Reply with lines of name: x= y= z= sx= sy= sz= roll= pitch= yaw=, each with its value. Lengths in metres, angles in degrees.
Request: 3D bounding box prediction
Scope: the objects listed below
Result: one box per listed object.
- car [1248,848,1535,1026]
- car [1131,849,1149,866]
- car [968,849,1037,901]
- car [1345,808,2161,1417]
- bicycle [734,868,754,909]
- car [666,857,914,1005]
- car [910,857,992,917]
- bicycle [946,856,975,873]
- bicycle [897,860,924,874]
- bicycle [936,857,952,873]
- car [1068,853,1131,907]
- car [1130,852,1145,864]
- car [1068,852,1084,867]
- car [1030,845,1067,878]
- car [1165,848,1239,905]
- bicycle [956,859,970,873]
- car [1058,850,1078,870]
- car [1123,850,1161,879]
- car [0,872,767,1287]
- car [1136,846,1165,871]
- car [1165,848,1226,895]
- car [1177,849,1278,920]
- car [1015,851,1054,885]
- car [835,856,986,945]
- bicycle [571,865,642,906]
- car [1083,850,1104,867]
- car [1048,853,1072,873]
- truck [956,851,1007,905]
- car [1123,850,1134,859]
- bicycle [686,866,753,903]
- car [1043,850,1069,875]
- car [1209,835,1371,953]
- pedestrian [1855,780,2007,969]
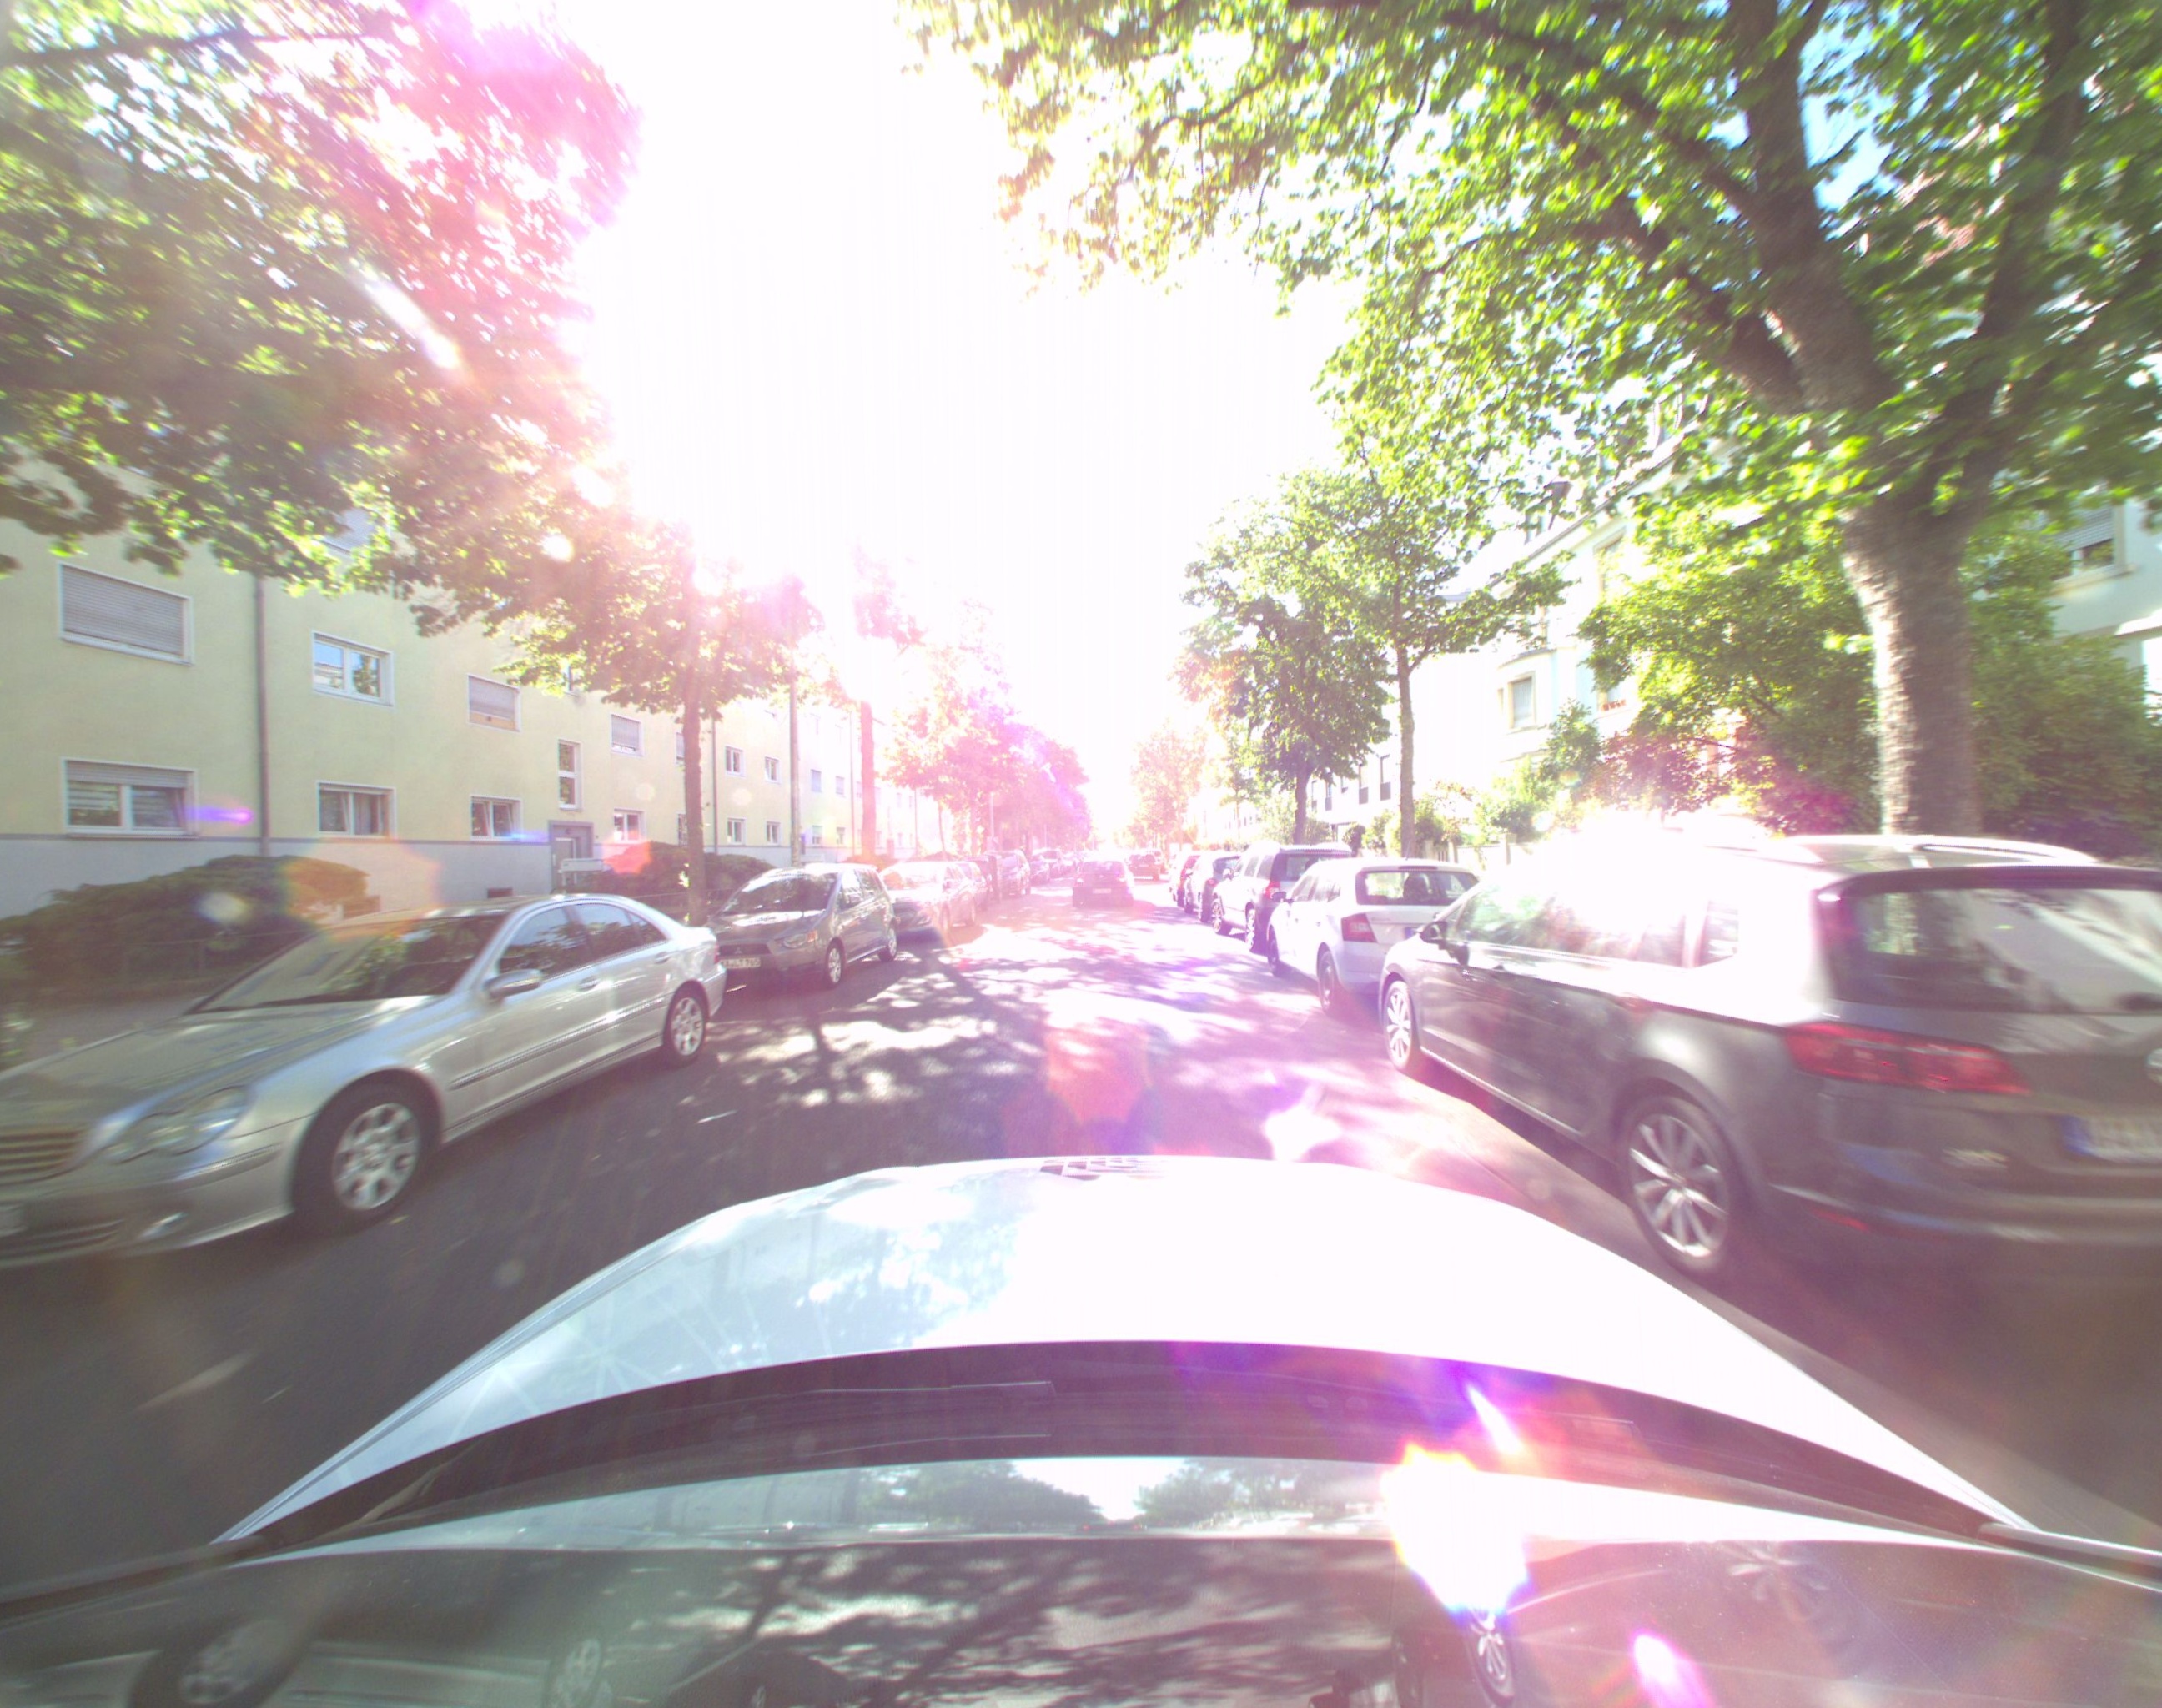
car: x=3.043 y=0.686 z=9.000 sx=1.623 sy=1.425 sz=4.370 roll=-2 pitch=0 yaw=2
car: x=5.893 y=0.361 z=81.899 sx=1.714 sy=1.641 sz=3.854 roll=1 pitch=0 yaw=3
car: x=-2.819 y=0.707 z=30.387 sx=1.842 sy=1.680 sz=4.979 roll=-4 pitch=0 yaw=2
car: x=2.980 y=0.672 z=4.403 sx=1.678 sy=1.588 sz=4.536 roll=1 pitch=0 yaw=1
bicycle: x=-9.437 y=0.948 z=22.826 sx=0.487 sy=1.081 sz=1.832 roll=1 pitch=-1 yaw=-22
car: x=-3.716 y=0.877 z=11.278 sx=1.614 sy=1.515 sz=4.272 roll=-4 pitch=0 yaw=3
car: x=-3.372 y=0.820 z=21.737 sx=1.515 sy=1.395 sz=3.727 roll=-2 pitch=0 yaw=1
bicycle: x=-9.123 y=0.794 z=61.607 sx=2.144 sy=1.208 sz=0.688 roll=-2 pitch=0 yaw=-9
bicycle: x=-12.851 y=0.977 z=61.346 sx=1.919 sy=0.991 sz=0.595 roll=-2 pitch=0 yaw=-6
bicycle: x=-8.863 y=0.725 z=52.762 sx=0.592 sy=0.991 sz=1.929 roll=-2 pitch=0 yaw=2
car: x=0.545 y=0.701 z=23.664 sx=1.643 sy=1.397 sz=3.413 roll=-2 pitch=0 yaw=2
car: x=6.764 y=0.411 z=97.006 sx=1.714 sy=1.379 sz=3.854 roll=1 pitch=0 yaw=3
car: x=-0.492 y=0.573 z=91.541 sx=1.606 sy=1.543 sz=3.867 roll=-3 pitch=0 yaw=1
car: x=-2.061 y=0.451 z=52.796 sx=1.819 sy=1.904 sz=5.145 roll=-3 pitch=0 yaw=3
car: x=3.443 y=0.593 z=23.828 sx=1.630 sy=1.454 sz=4.101 roll=-2 pitch=0 yaw=2
bicycle: x=-8.501 y=0.862 z=58.718 sx=0.592 sy=0.991 sz=1.929 roll=-2 pitch=0 yaw=2
car: x=-1.179 y=0.504 z=74.318 sx=1.606 sy=1.679 sz=4.235 roll=-3 pitch=0 yaw=1
car: x=3.232 y=0.505 z=43.748 sx=1.645 sy=1.425 sz=3.998 roll=-2 pitch=0 yaw=-2
car: x=-3.942 y=0.905 z=5.341 sx=1.738 sy=1.368 sz=4.677 roll=-3 pitch=0 yaw=2
car: x=4.711 y=0.320 z=55.771 sx=1.840 sy=1.631 sz=4.414 roll=-1 pitch=0 yaw=4
car: x=3.912 y=0.561 z=28.385 sx=1.694 sy=1.449 sz=4.085 roll=-2 pitch=0 yaw=2
car: x=3.271 y=0.625 z=18.766 sx=1.644 sy=1.428 sz=3.612 roll=-2 pitch=0 yaw=0
car: x=-2.382 y=0.684 z=42.342 sx=1.502 sy=1.548 sz=4.780 roll=-4 pitch=0 yaw=2
car: x=-3.314 y=0.841 z=16.888 sx=1.784 sy=1.444 sz=4.693 roll=-3 pitch=0 yaw=4
bicycle: x=-13.882 y=0.916 z=23.838 sx=1.830 sy=1.146 sz=0.487 roll=1 pitch=-1 yaw=4
car: x=1.121 y=0.382 z=73.677 sx=1.497 sy=1.426 sz=3.185 roll=-2 pitch=0 yaw=8
car: x=-1.591 y=0.663 z=63.785 sx=1.606 sy=1.427 sz=4.059 roll=-3 pitch=0 yaw=1
truck: x=-3.112 y=0.715 z=25.760 sx=1.079 sy=1.577 sz=2.434 roll=-2 pitch=0 yaw=4
car: x=8.003 y=0.117 z=137.090 sx=1.713 sy=1.480 sz=3.856 roll=-2 pitch=0 yaw=5
bicycle: x=-11.319 y=0.966 z=25.551 sx=1.834 sy=1.081 sz=0.486 roll=-2 pitch=0 yaw=-2
car: x=-1.763 y=0.582 z=58.477 sx=1.607 sy=1.611 sz=4.229 roll=-3 pitch=0 yaw=0
car: x=3.310 y=0.564 z=13.641 sx=1.644 sy=1.655 sz=3.845 roll=-1 pitch=0 yaw=-1
pedestrian: x=8.465 y=0.196 z=8.147 sx=0.620 sy=1.775 sz=0.800 roll=-2 pitch=0 yaw=2
